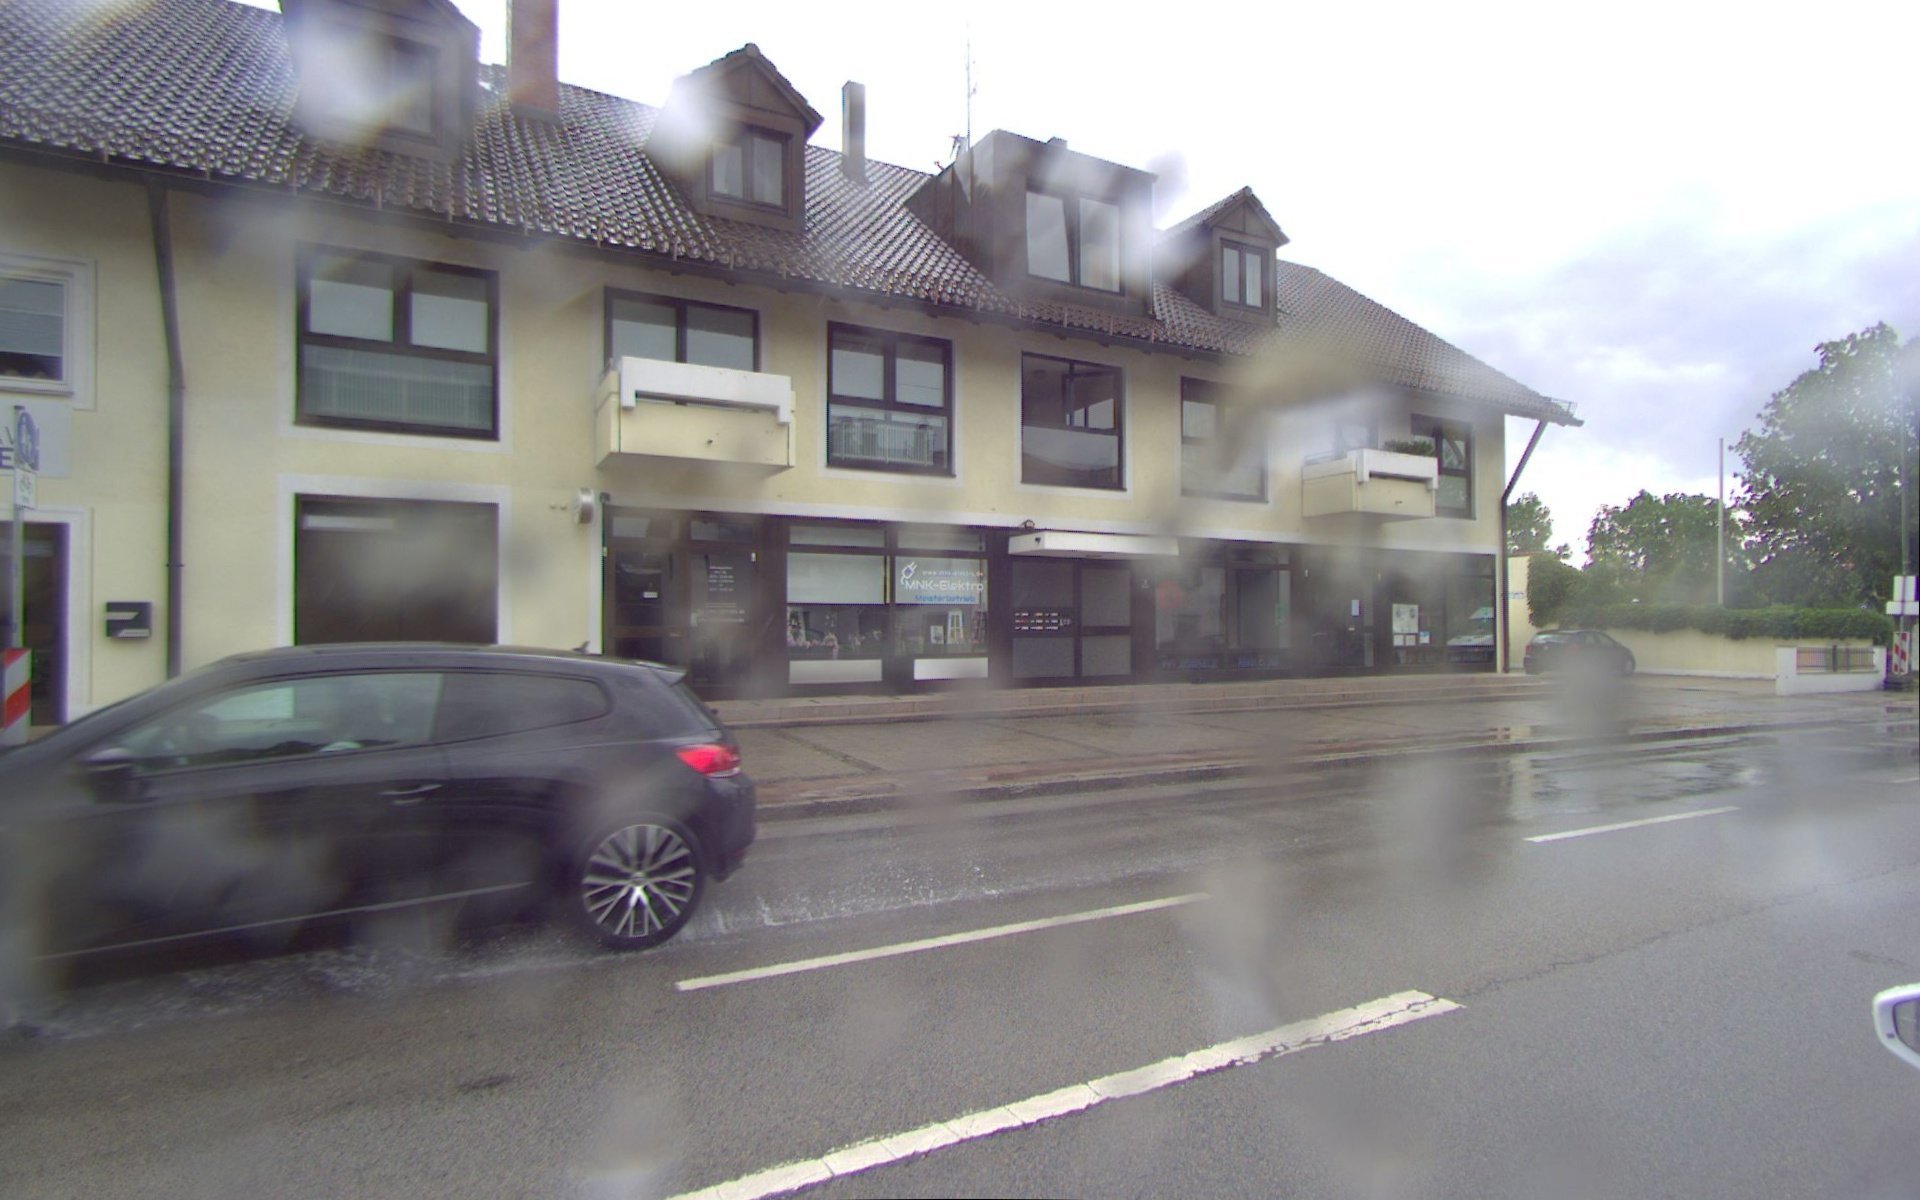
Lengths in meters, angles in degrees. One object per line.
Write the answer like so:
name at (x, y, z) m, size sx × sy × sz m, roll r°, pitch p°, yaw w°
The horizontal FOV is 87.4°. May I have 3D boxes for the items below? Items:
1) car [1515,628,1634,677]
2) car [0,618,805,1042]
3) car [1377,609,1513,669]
car at (18.592, 1.576, 30.375) m, size 3.467 × 1.398 × 1.599 m, roll 1°, pitch -3°, yaw -30°
car at (-2.890, 0.835, 4.754) m, size 3.837 × 1.426 × 1.988 m, roll 1°, pitch -3°, yaw -30°
car at (16.700, 1.339, 34.557) m, size 4.682 × 1.944 × 1.955 m, roll 1°, pitch -3°, yaw -31°
